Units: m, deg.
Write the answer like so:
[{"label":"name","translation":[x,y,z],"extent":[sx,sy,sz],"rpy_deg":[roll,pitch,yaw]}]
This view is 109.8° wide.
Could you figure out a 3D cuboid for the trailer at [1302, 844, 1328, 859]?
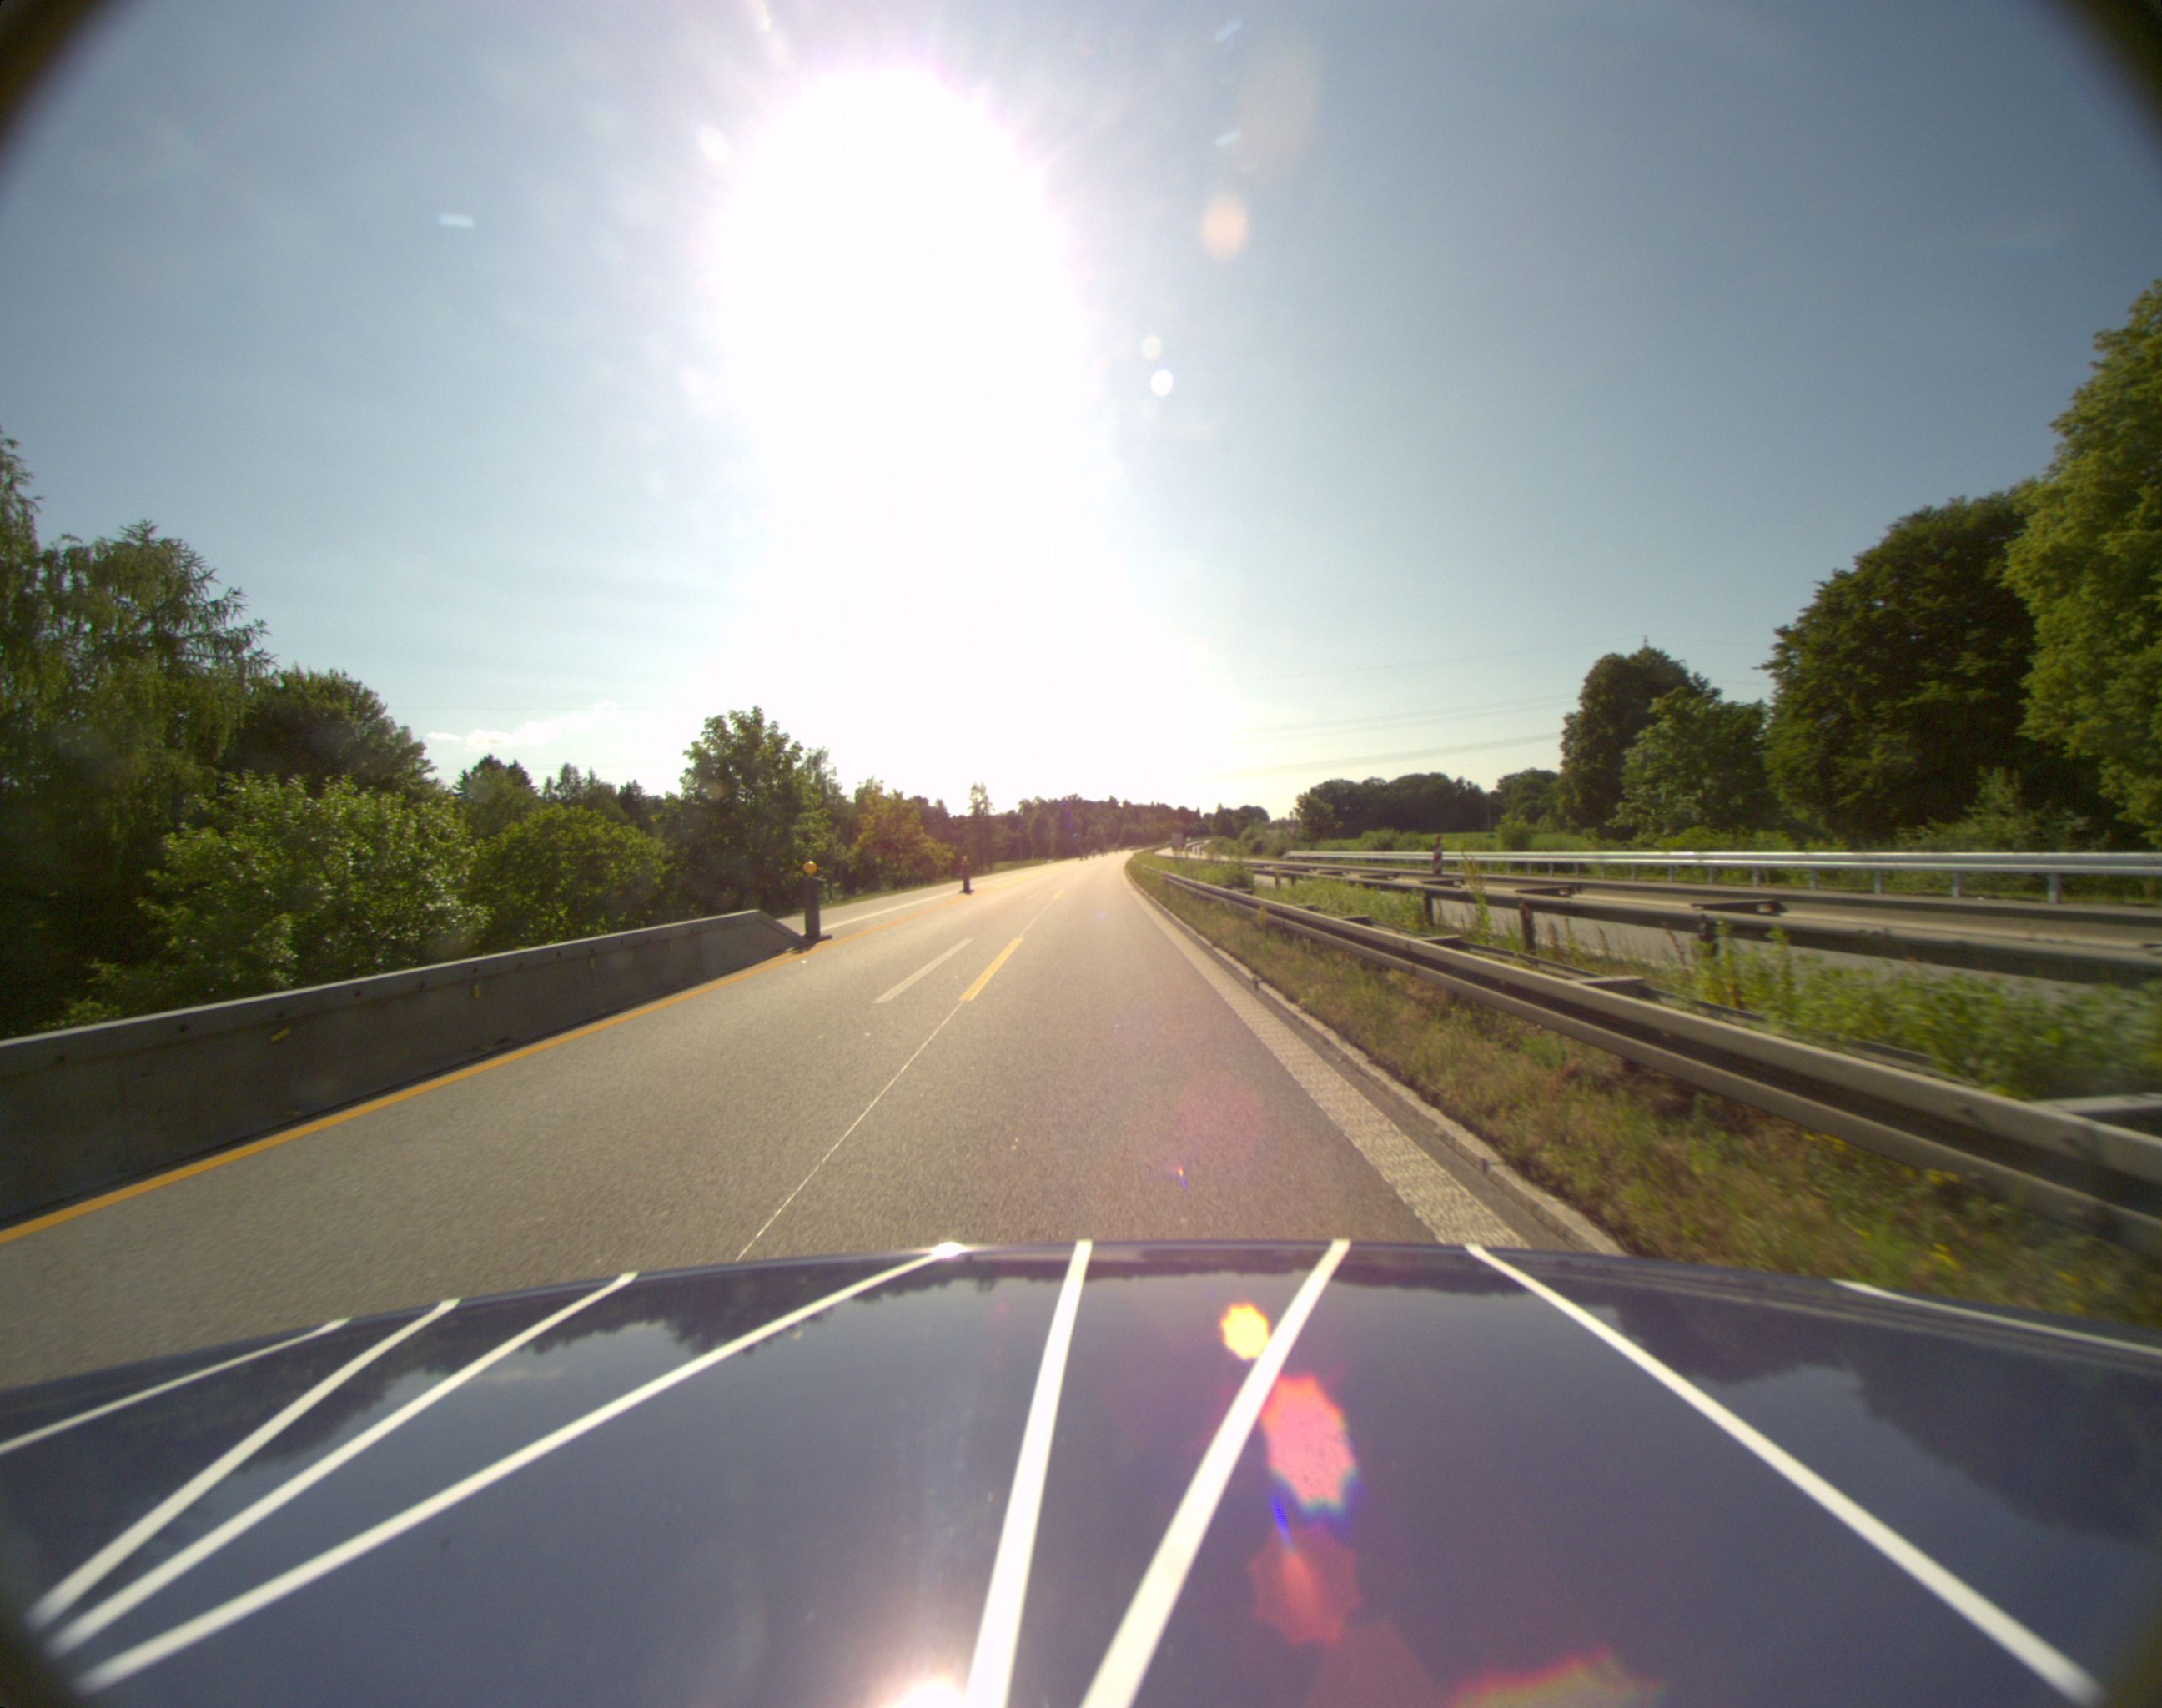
[{"label":"trailer","translation":[18.076,-0.212,58.760],"extent":[0.995,1.047,3.424],"rpy_deg":[-6,0,3]}]

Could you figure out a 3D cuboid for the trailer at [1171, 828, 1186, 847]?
[{"label":"trailer","translation":[21.810,-3.696,170.883],"extent":[2.685,3.931,13.773],"rpy_deg":[-2,0,5]}]
